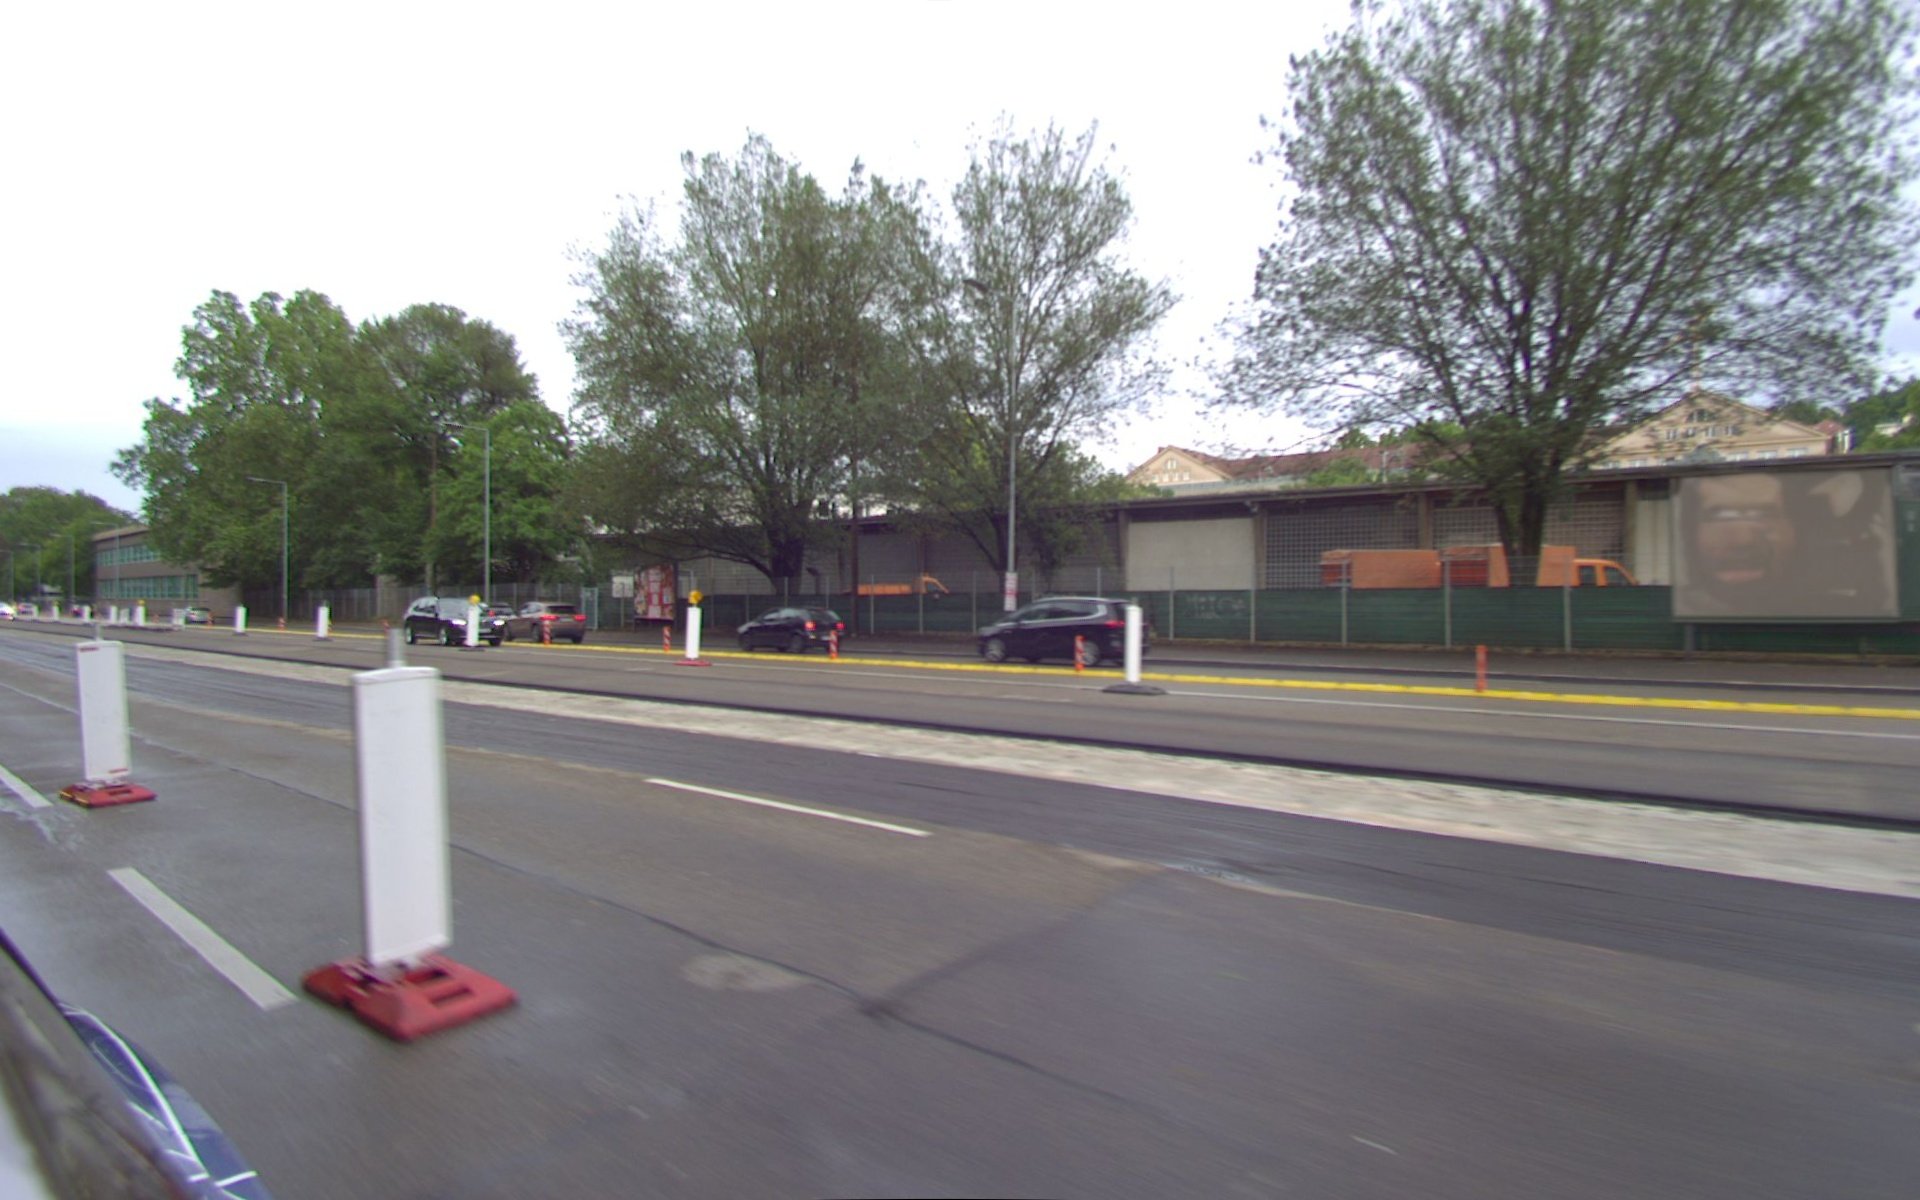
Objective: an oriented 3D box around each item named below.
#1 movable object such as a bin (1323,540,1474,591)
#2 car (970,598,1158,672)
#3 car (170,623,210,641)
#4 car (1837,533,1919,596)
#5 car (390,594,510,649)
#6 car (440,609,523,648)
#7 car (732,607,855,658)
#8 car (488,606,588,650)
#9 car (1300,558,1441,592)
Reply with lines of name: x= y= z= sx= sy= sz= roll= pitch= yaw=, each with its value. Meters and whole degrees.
movable object such as a bin: x=13.674 y=-1.063 z=31.686 sx=3.961 sy=1.539 sz=1.756 roll=0 pitch=-1 yaw=-6
car: x=2.489 y=0.834 z=24.822 sx=4.327 sy=1.642 sz=1.839 roll=-1 pitch=-3 yaw=41
car: x=-61.075 y=2.526 z=80.276 sx=4.453 sy=1.325 sz=1.649 roll=-1 pitch=-3 yaw=42
car: x=25.564 y=-0.905 z=26.390 sx=3.957 sy=1.539 sz=2.005 roll=0 pitch=-1 yaw=-11
car: x=-17.525 y=0.787 z=34.700 sx=4.983 sy=1.719 sz=1.972 roll=-2 pitch=-4 yaw=42
car: x=-22.047 y=1.301 z=46.553 sx=4.363 sy=1.719 sz=1.839 roll=-1 pitch=-3 yaw=41
car: x=-5.236 y=1.011 z=31.687 sx=3.730 sy=1.487 sz=1.839 roll=-1 pitch=-3 yaw=41
car: x=-16.509 y=1.080 z=39.529 sx=4.363 sy=1.631 sz=1.839 roll=-1 pitch=-3 yaw=41
car: x=13.643 y=-0.831 z=33.746 sx=3.961 sy=1.070 sz=1.756 roll=0 pitch=0 yaw=-6
